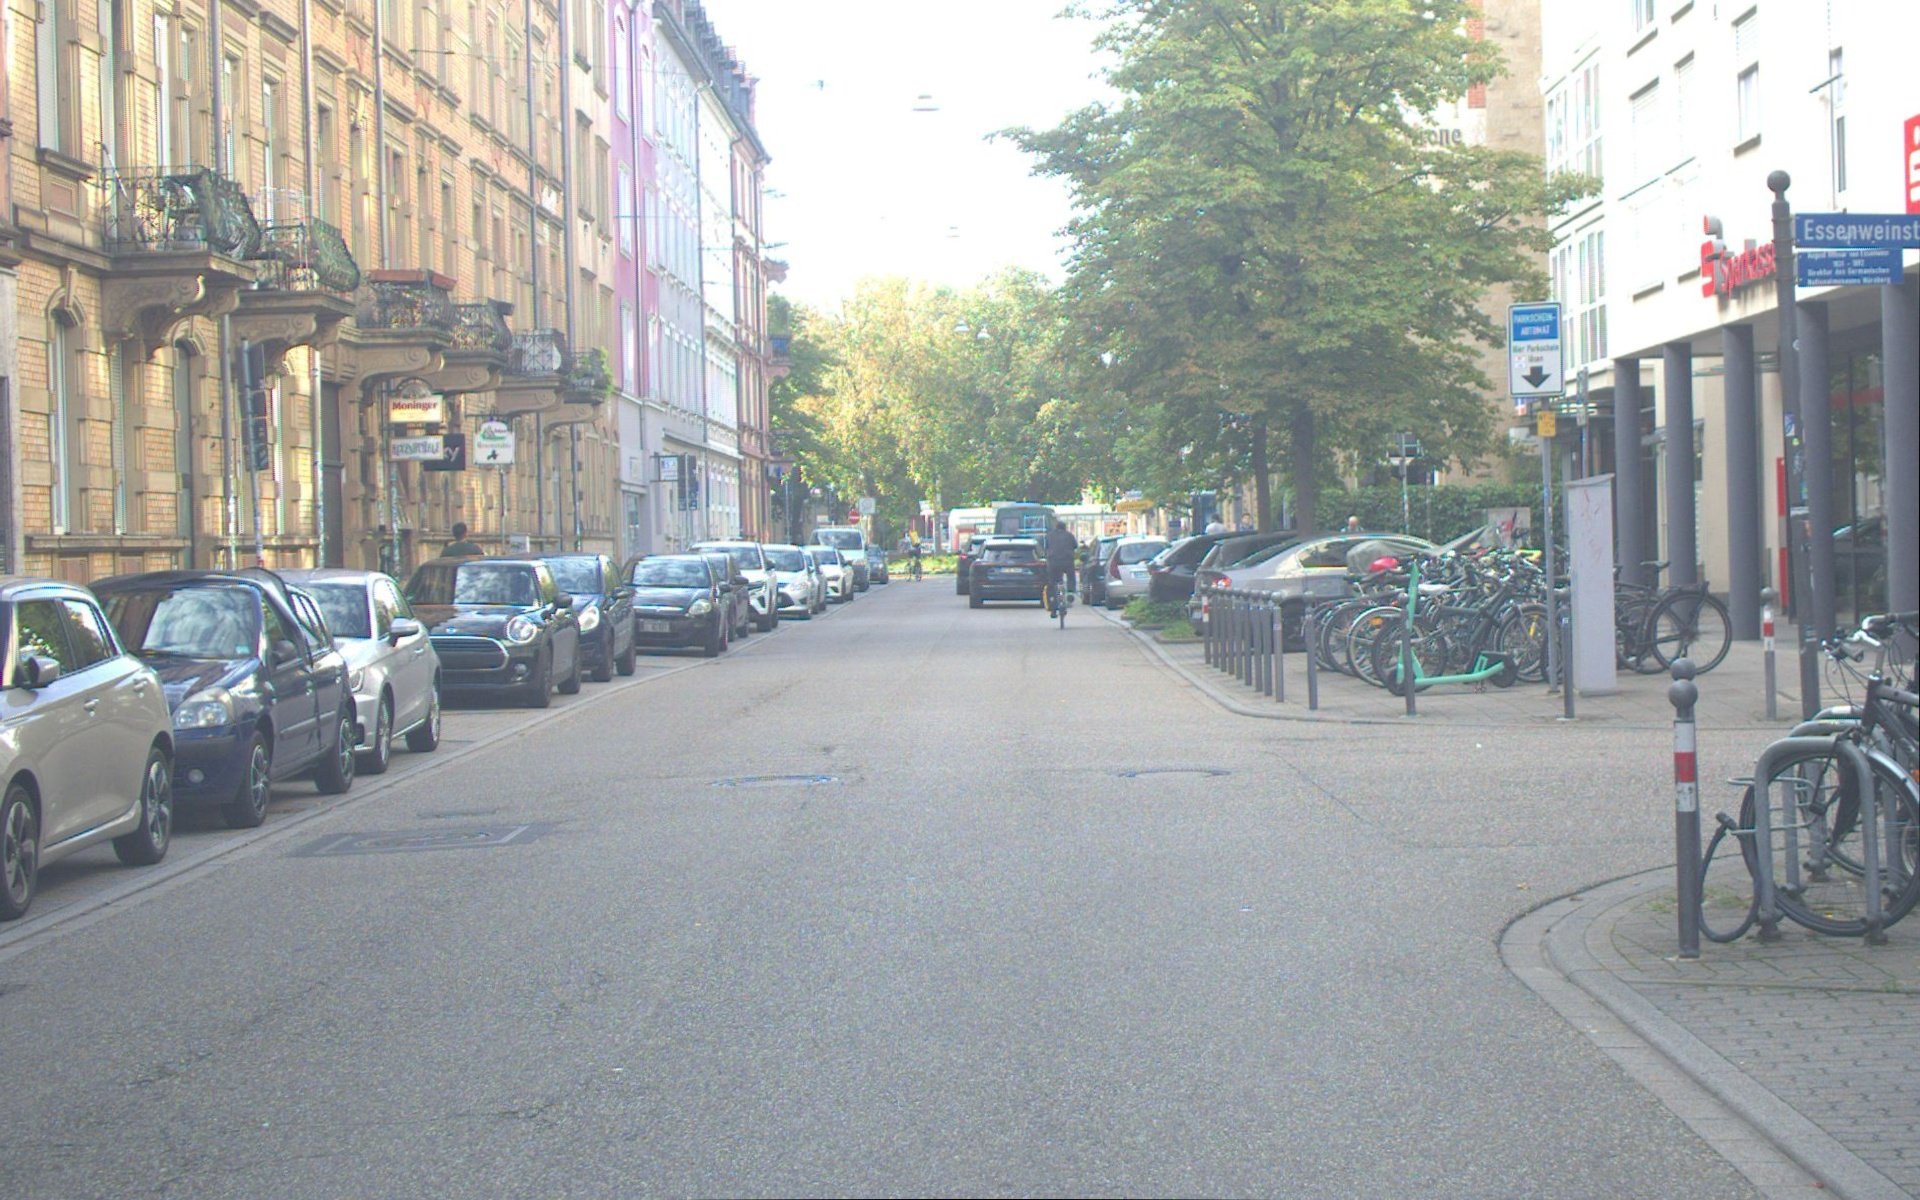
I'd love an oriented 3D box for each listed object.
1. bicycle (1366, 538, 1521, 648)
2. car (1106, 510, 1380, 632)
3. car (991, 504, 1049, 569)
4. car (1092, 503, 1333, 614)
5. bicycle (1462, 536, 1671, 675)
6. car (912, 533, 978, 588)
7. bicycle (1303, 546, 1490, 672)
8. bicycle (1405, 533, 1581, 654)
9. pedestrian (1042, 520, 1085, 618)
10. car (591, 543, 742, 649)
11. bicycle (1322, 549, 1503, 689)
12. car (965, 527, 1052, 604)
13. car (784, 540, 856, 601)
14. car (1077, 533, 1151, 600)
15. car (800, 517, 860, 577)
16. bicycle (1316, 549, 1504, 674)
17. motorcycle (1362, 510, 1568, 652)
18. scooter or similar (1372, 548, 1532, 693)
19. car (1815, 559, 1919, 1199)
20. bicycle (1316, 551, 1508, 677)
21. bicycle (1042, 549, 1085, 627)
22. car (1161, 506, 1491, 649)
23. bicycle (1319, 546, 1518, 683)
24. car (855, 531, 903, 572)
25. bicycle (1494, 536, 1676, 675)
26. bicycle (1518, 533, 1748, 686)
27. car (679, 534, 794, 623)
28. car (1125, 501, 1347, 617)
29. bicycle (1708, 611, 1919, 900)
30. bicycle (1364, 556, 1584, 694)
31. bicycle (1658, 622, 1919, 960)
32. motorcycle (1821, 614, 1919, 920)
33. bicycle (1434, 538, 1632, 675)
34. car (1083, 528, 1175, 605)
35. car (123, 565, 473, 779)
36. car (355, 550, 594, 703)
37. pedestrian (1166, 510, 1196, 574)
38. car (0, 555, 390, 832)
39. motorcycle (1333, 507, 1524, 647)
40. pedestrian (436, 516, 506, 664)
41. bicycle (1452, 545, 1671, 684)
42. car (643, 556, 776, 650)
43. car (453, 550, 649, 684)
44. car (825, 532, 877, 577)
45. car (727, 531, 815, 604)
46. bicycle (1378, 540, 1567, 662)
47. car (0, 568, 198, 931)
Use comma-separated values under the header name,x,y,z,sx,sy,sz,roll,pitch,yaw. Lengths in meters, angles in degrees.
name,x,y,z,sx,sy,sz,roll,pitch,yaw
bicycle,5.574,-0.086,39.676,1.664,1.155,0.557,-4,2,3
car,4.311,-0.448,52.168,3.988,1.578,2.000,-3,1,6
car,1.883,-2.017,108.920,1.782,2.013,3.888,0,1,0
car,4.385,-0.728,59.309,3.988,1.634,2.000,-3,1,6
bicycle,5.539,0.042,31.424,1.765,1.142,0.411,-4,2,-4
car,-0.404,-1.112,95.639,1.797,1.467,3.888,0,1,0
bicycle,4.443,0.090,35.066,1.794,1.155,0.500,-4,2,4
bicycle,5.644,-0.069,36.434,1.732,1.155,0.500,-4,2,3
pedestrian,1.751,-0.525,58.360,0.718,1.644,0.930,0,1,2
car,-4.253,-0.091,50.336,1.690,1.364,3.867,3,1,2
bicycle,4.062,0.165,30.867,1.495,1.142,0.411,-4,2,-4
car,1.147,-0.810,80.651,1.965,1.735,4.041,-1,0,1
car,-3.637,-0.778,89.722,1.690,1.545,3.867,0,1,0
car,3.606,-0.804,81.082,1.690,1.545,3.688,0,1,2
car,-3.999,-1.654,106.212,1.690,1.815,3.867,0,1,0
bicycle,4.458,0.114,34.132,1.766,1.114,0.411,-4,2,4
motorcycle,5.616,-0.215,38.327,2.151,1.430,0.765,-4,2,6
scooter or similar,4.131,0.177,28.883,1.207,1.143,0.378,-3,3,33
car,2.728,0.653,5.915,1.595,1.434,4.030,-2,1,2
bicycle,4.386,0.134,33.389,1.766,1.095,0.411,-4,2,4
bicycle,1.752,-0.219,58.275,0.718,1.270,1.884,0,1,2
car,4.612,-0.280,43.572,3.759,1.541,1.731,-4,0,-9
bicycle,4.275,0.124,32.028,1.765,1.142,0.411,-4,2,-19
car,-3.152,-1.900,134.495,1.587,1.533,3.752,-1,1,3
bicycle,5.610,0.049,30.883,1.495,1.142,0.411,-4,2,1
bicycle,5.675,0.077,29.051,1.766,1.158,0.650,-4,2,4
car,-4.041,-0.411,62.642,1.690,1.545,3.867,-1,1,2
car,5.168,-0.769,64.356,3.988,1.678,1.737,-4,9,5
bicycle,3.966,0.590,13.360,1.962,1.091,0.688,-2,0,44
bicycle,4.406,0.208,29.490,1.765,1.053,0.411,-4,2,-4
bicycle,3.344,0.633,11.678,1.768,1.091,0.682,-2,1,44
motorcycle,4.024,0.593,12.376,1.664,1.091,0.607,-2,1,44
bicycle,5.324,0.052,31.933,1.765,1.142,0.411,-4,2,-19
car,3.744,-0.765,76.658,1.930,1.632,4.000,0,1,1
car,-4.732,0.466,25.092,1.690,1.382,3.867,0,1,2
car,-4.716,0.217,33.862,1.690,1.382,3.867,0,1,2
pedestrian,7.645,-2.008,119.156,0.995,2.222,0.898,0,1,2
car,-4.729,0.492,20.885,1.742,1.478,3.983,0,1,2
motorcycle,5.612,-0.279,41.272,2.151,1.525,0.686,-4,2,6
pedestrian,-6.151,-0.137,43.287,0.689,1.847,0.931,0,1,3
bicycle,5.258,0.124,30.110,1.766,1.083,0.650,-4,2,4
car,-4.016,0.024,55.553,1.690,1.364,3.867,2,1,2
car,-4.689,0.160,39.893,1.690,1.432,3.867,0,1,2
car,-3.824,-1.605,121.351,1.690,1.545,3.867,0,1,0
car,-4.099,-0.722,74.951,1.690,1.545,3.867,0,1,0
bicycle,5.284,0.011,35.450,1.797,1.155,0.499,-3,2,27
car,-4.882,0.622,15.934,1.741,1.478,3.983,0,1,1
